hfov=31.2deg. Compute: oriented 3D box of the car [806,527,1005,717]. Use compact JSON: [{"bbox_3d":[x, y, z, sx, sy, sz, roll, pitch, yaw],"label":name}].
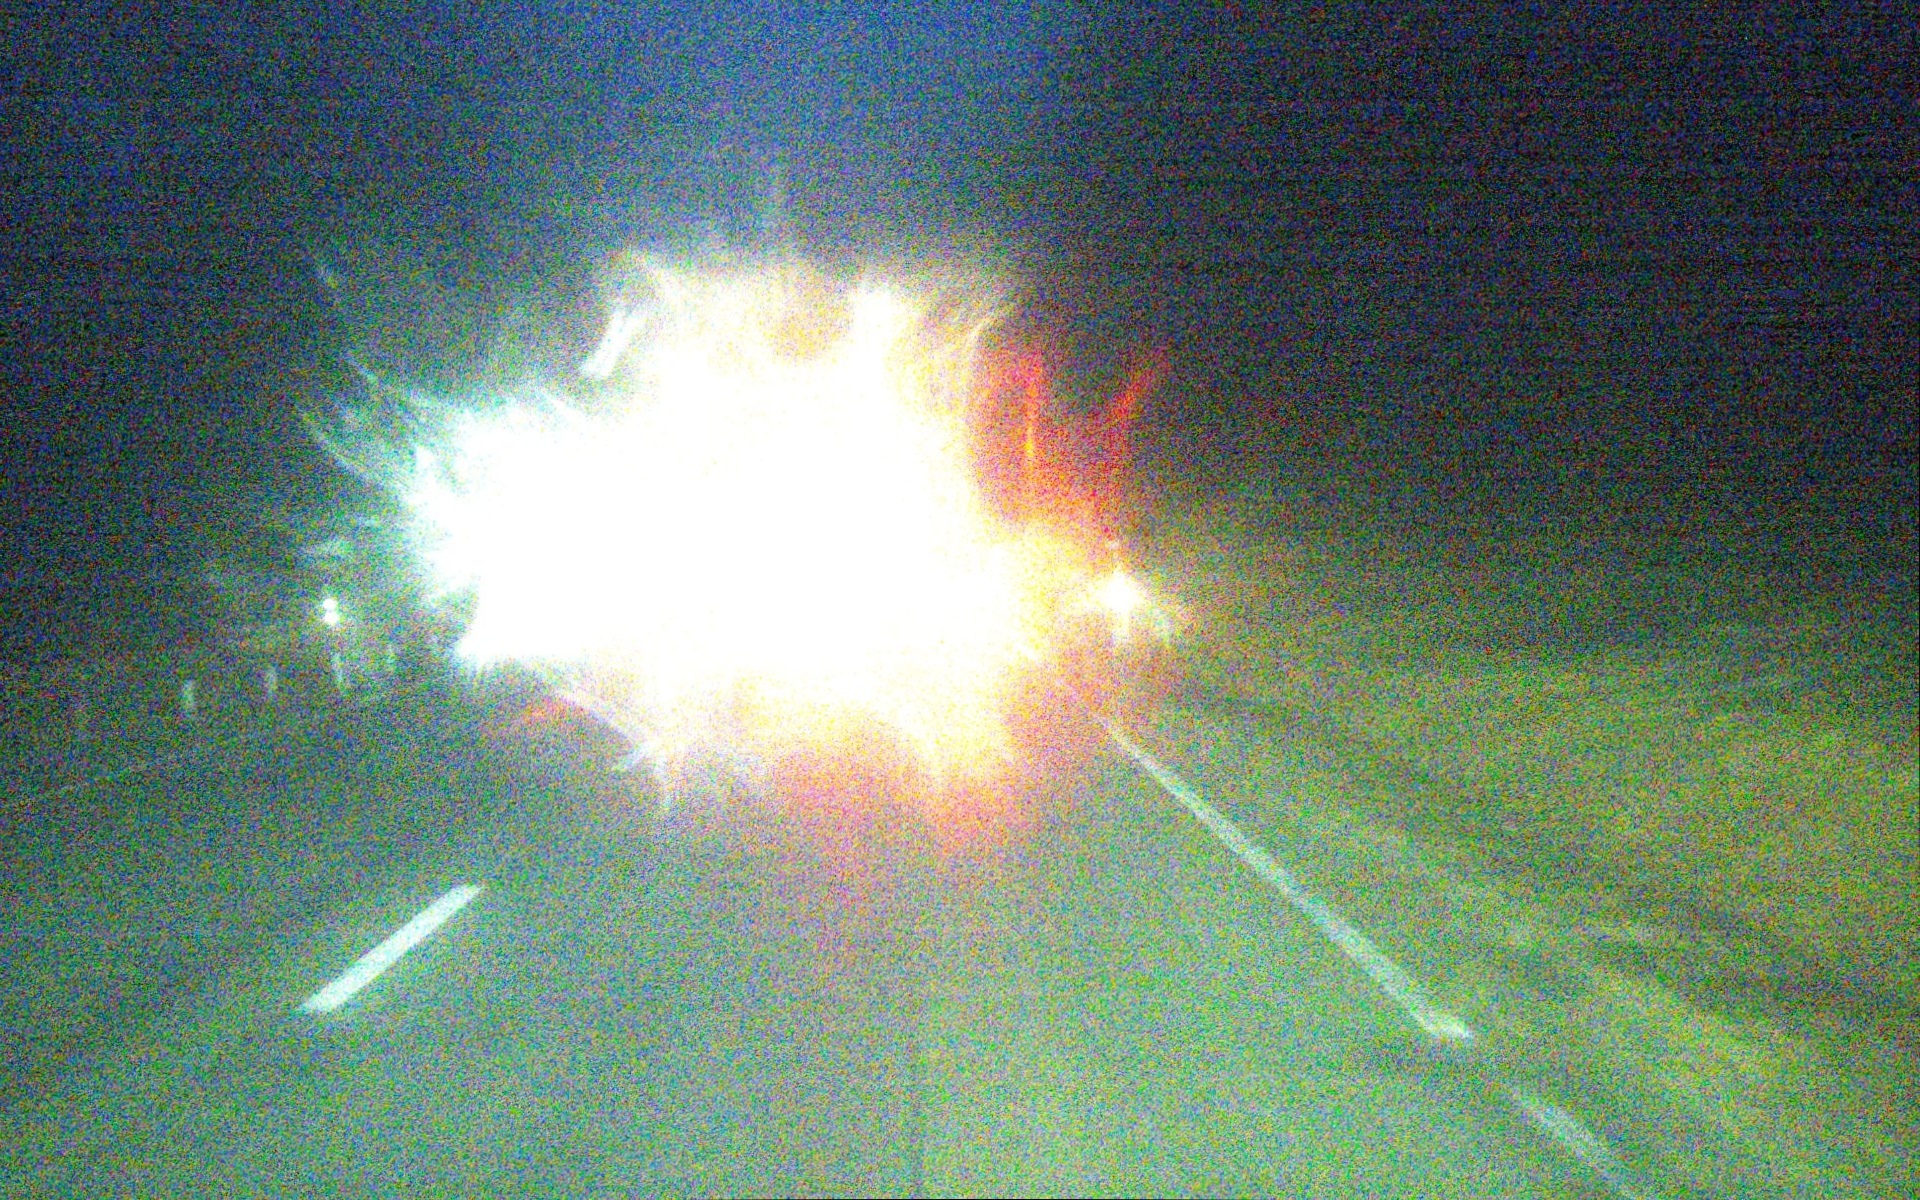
[{"bbox_3d":[-0.656,0.187,37.981,1.993,1.800,3.918,-2,3,-3],"label":"car"}]
